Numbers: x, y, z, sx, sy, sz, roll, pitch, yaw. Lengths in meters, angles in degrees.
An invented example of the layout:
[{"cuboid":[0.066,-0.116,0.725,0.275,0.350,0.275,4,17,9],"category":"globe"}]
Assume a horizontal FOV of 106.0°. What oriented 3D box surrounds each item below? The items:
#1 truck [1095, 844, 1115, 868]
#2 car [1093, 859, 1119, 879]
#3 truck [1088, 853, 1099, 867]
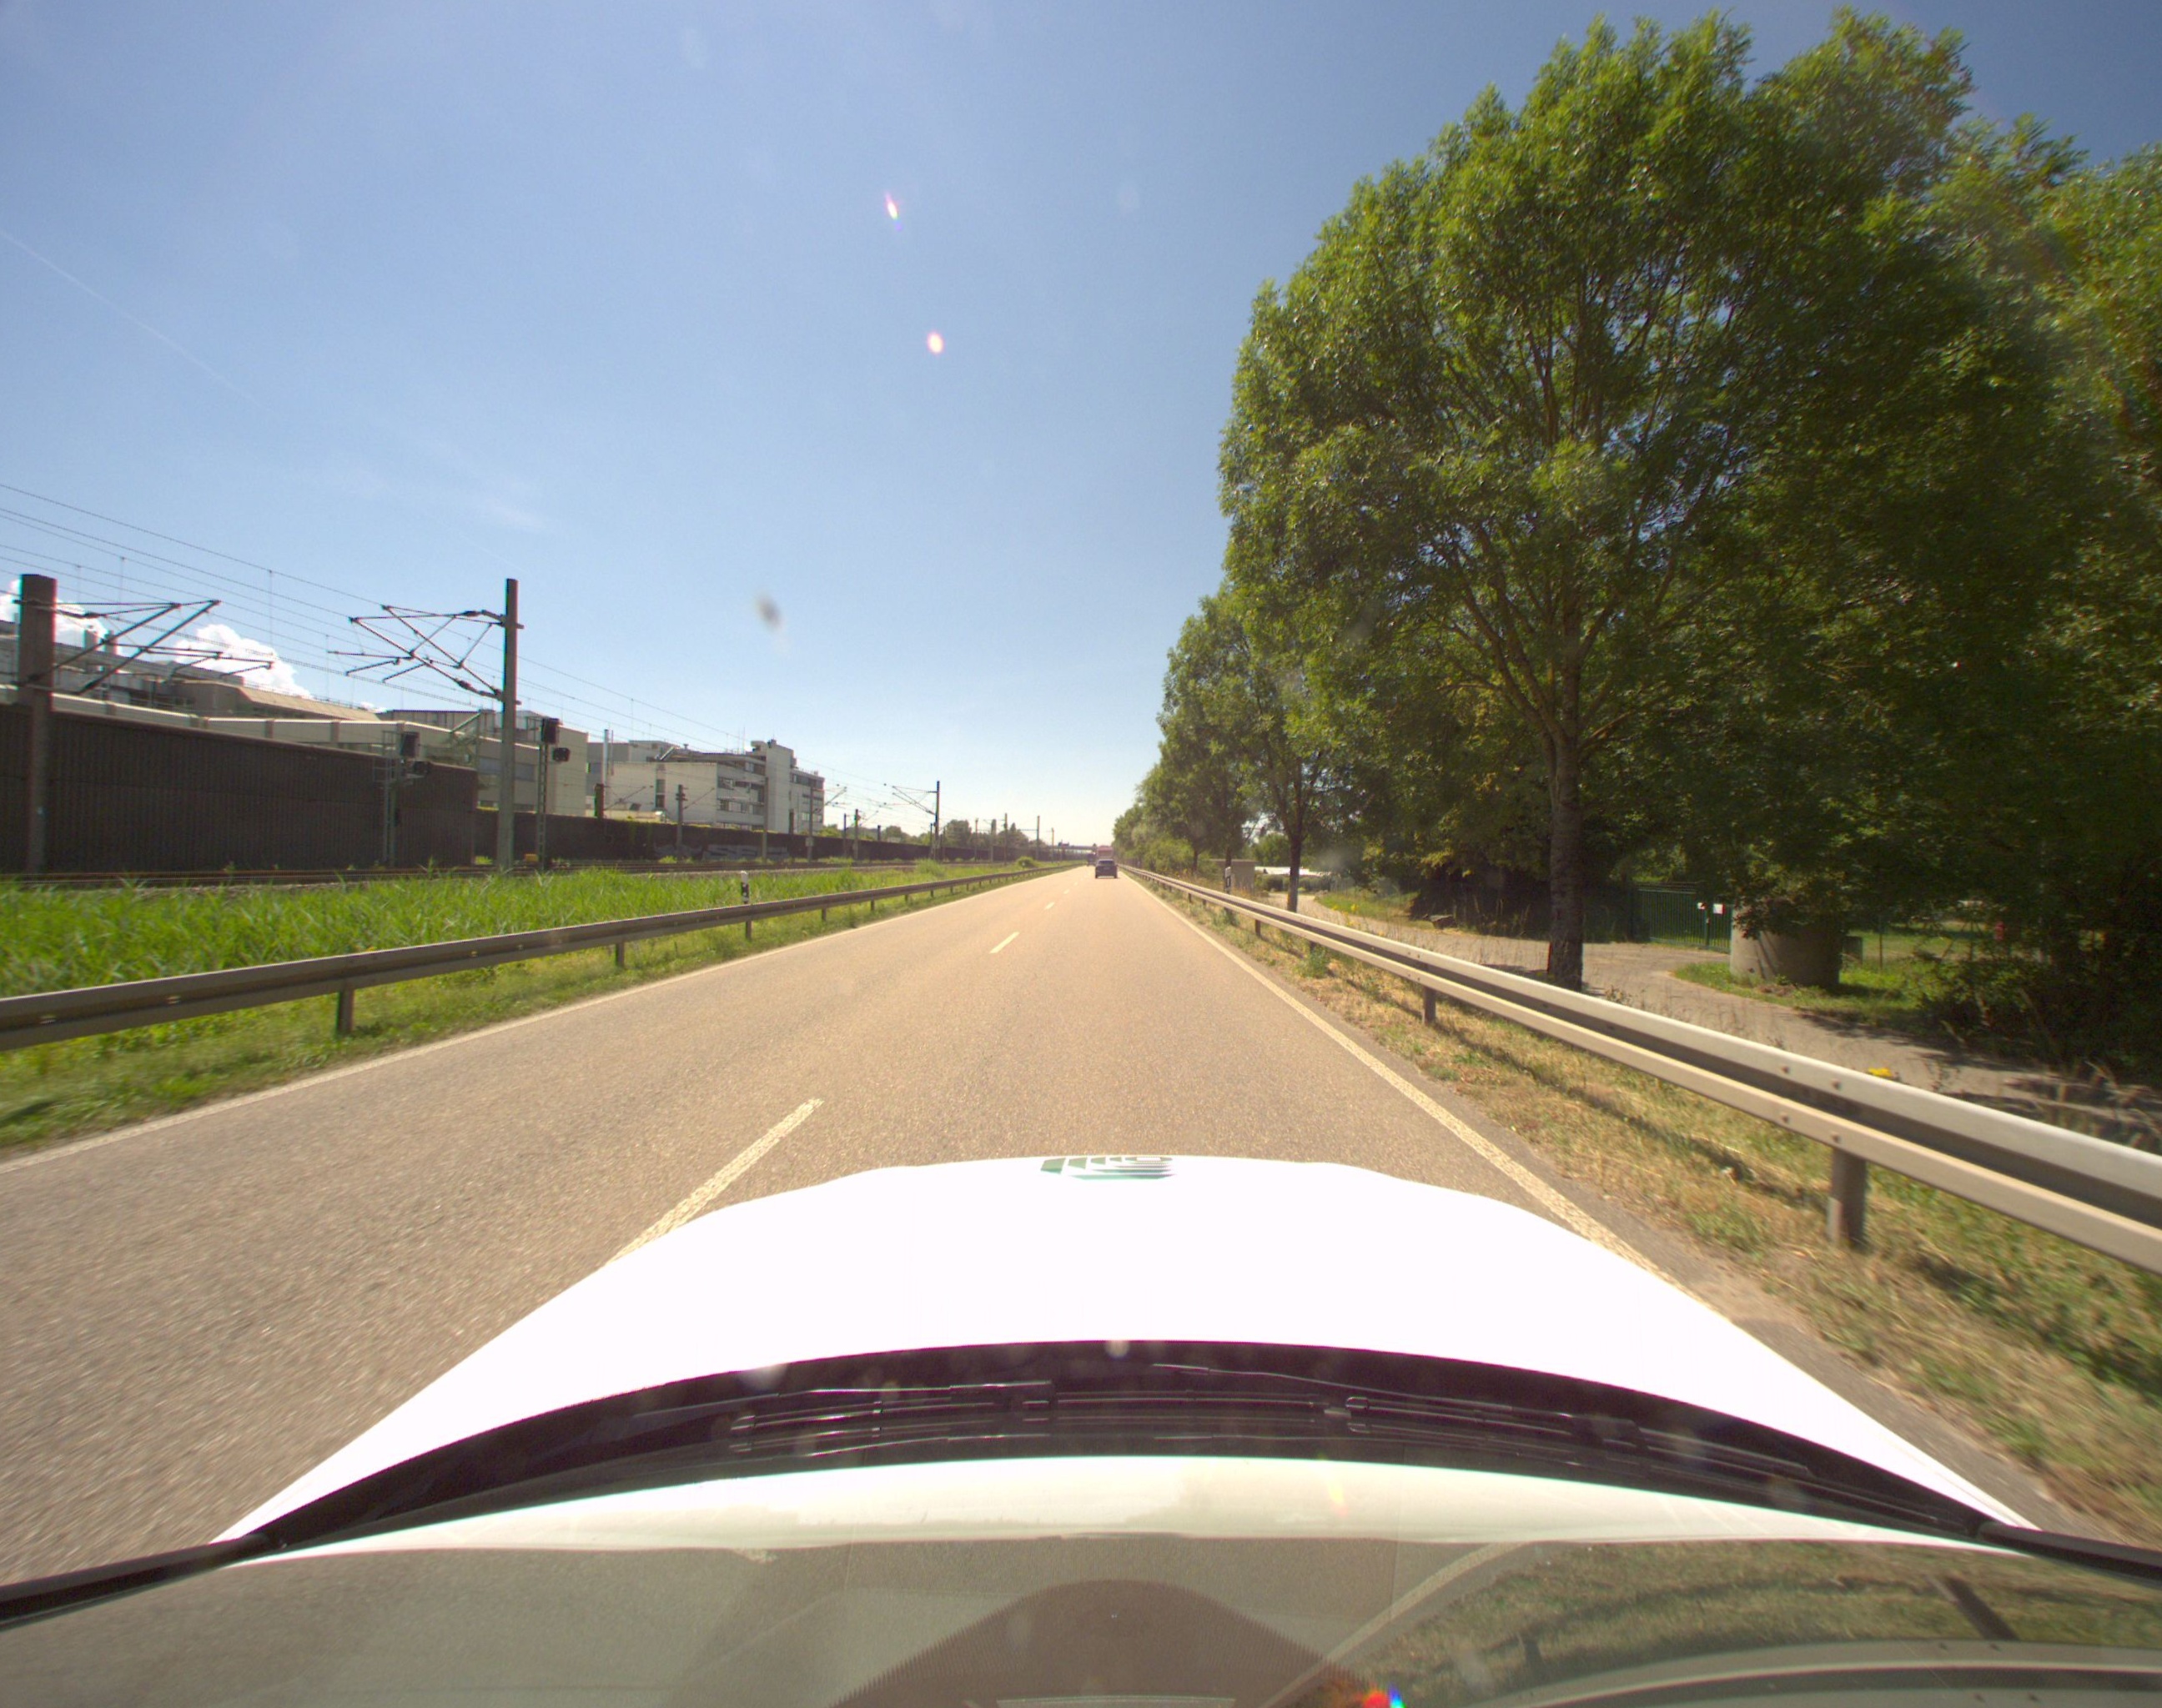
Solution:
[{"cuboid":[3.500,0.345,119.049,2.760,3.425,10.823,0,-1,2],"category":"truck"},{"cuboid":[2.025,1.203,66.661,1.987,1.508,3.999,-1,0,0],"category":"car"},{"cuboid":[3.328,1.649,218.738,2.649,3.627,10.978,0,0,1],"category":"truck"}]
